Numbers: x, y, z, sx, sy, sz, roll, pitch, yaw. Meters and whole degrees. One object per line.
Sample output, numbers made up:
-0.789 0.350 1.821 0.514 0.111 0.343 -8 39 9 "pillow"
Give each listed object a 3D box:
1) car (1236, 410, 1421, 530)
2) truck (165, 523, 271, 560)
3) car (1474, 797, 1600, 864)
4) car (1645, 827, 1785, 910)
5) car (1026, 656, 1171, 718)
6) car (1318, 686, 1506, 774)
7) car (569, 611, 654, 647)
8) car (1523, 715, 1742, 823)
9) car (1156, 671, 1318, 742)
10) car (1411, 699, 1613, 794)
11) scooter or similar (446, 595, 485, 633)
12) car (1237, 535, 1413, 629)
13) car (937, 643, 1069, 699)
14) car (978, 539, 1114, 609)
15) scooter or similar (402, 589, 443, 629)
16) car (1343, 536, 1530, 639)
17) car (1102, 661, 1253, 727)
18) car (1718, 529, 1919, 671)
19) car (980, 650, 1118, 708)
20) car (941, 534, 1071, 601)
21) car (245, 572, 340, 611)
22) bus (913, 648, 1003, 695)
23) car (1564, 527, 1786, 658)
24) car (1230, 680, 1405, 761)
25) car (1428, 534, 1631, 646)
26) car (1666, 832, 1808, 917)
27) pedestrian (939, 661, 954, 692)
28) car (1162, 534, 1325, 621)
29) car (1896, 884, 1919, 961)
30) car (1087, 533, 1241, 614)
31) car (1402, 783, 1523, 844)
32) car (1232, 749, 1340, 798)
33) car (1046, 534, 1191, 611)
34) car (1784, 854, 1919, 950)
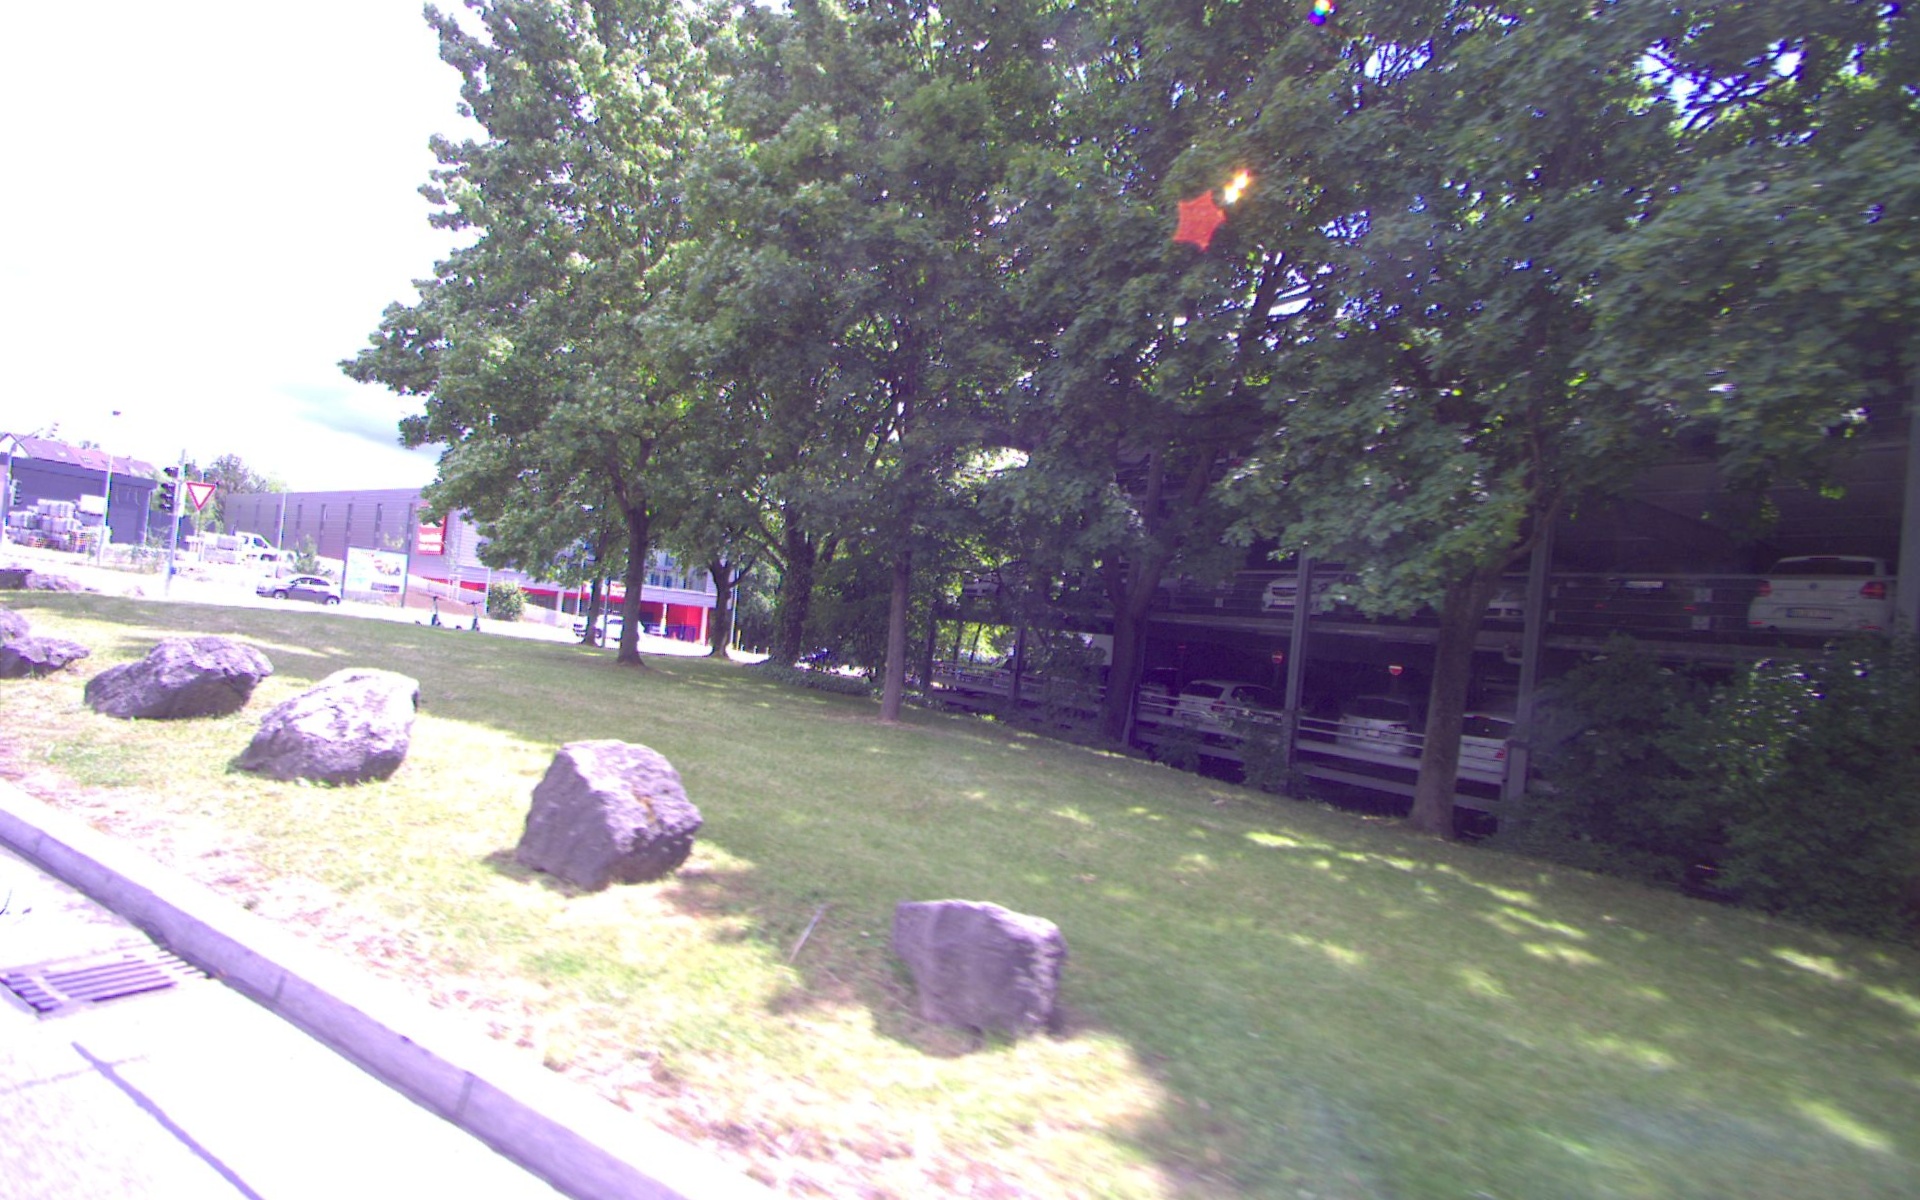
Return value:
8.457 -2.860 22.976 3.965 1.679 1.853 10 -4 -33 "car"
-58.249 -4.549 79.100 6.526 2.173 1.978 5 0 -40 "truck"
16.532 6.537 28.780 3.747 1.388 1.625 6 0 -35 "car"
18.829 6.613 25.052 3.747 1.388 1.625 6 0 -35 "car"
3.906 2.450 28.269 3.764 1.307 1.760 8 -1 -35 "car"
9.351 2.703 20.730 3.764 1.409 1.760 8 -1 -35 "car"
-22.159 1.875 64.140 1.707 1.676 4.892 6 -4 36 "car"
11.453 2.859 17.065 3.764 1.409 1.760 8 -1 -35 "car"
6.834 2.632 24.745 3.764 1.307 1.760 8 -1 -35 "car"
10.446 2.776 18.968 3.764 1.409 1.760 8 -1 -35 "car"
-18.164 0.522 36.997 0.524 1.278 1.192 5 -4 13 "scooter or similar"
8.186 -0.384 22.492 3.669 1.561 1.711 8 1 -34 "car"
1.379 2.253 31.750 3.764 1.307 1.760 8 -1 -35 "car"
2.607 -0.768 30.185 3.669 1.561 1.711 8 1 -34 "car"
-19.068 0.332 35.717 0.524 1.278 1.192 5 -4 13 "scooter or similar"
9.795 -0.244 20.625 3.669 1.561 1.711 8 1 -34 "car"
5.835 2.520 26.856 3.764 1.307 1.760 8 -1 -35 "car"
13.331 0.038 15.249 3.669 1.639 1.711 8 1 -34 "car"
2.667 2.364 29.950 3.764 1.307 1.760 8 -1 -35 "car"
1.479 -1.002 31.805 3.669 1.561 1.711 8 1 -34 "car"
-32.822 -0.389 49.491 1.562 1.478 3.510 6 -1 39 "car"
-0.053 6.890 95.833 2.781 3.319 10.103 6 -4 36 "bus"
11.984 -0.100 16.816 3.669 1.639 1.711 8 1 -34 "car"
8.055 2.714 22.577 3.764 1.409 1.760 8 -1 -35 "car"
10.713 -0.168 18.872 3.669 1.561 1.711 8 1 -34 "car"
18.982 6.624 24.540 3.747 1.388 1.625 6 0 -35 "car"
-0.777 4.444 58.544 0.579 1.740 0.774 5 1 8 "pedestrian"
6.933 -0.534 24.501 3.669 1.561 1.711 8 1 -34 "car"
21.306 6.822 21.092 3.747 1.388 1.625 6 0 -35 "car"
5.323 -0.674 26.179 3.669 1.561 1.711 8 1 -34 "car"
15.276 6.429 30.529 3.747 1.388 1.625 6 0 -35 "car"
11.563 6.111 35.599 3.747 1.388 1.625 6 0 -35 "car"
4.413 -0.750 27.912 3.669 1.561 1.711 8 1 -34 "car"
20.342 6.741 22.731 3.747 1.388 1.625 6 0 -35 "car"
